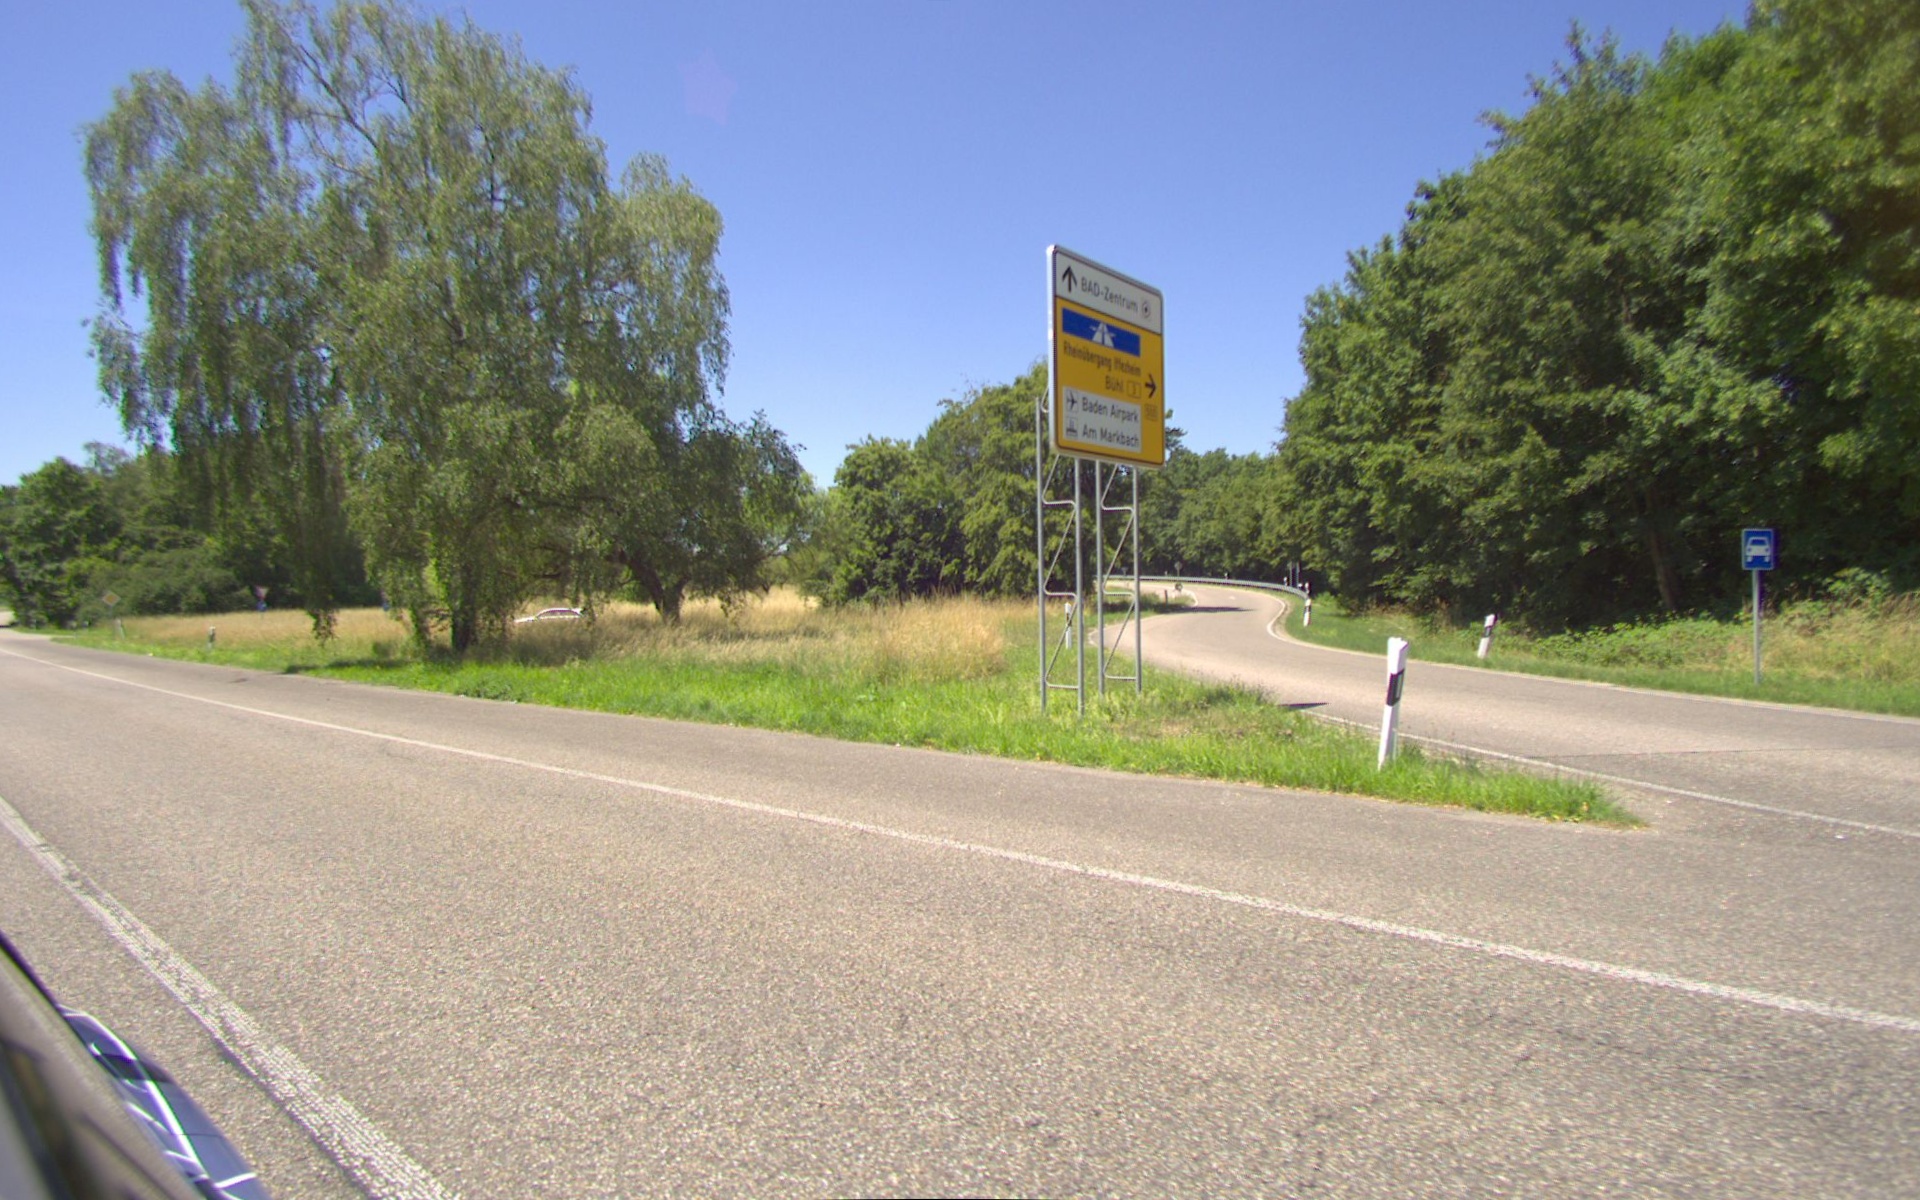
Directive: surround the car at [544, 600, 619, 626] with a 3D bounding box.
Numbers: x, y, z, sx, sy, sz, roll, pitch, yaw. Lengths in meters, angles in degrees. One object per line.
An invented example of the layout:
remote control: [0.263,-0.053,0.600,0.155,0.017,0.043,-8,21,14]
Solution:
car: [-22.675,0.770,60.696,3.939,1.478,1.666,-1,-1,-5]
